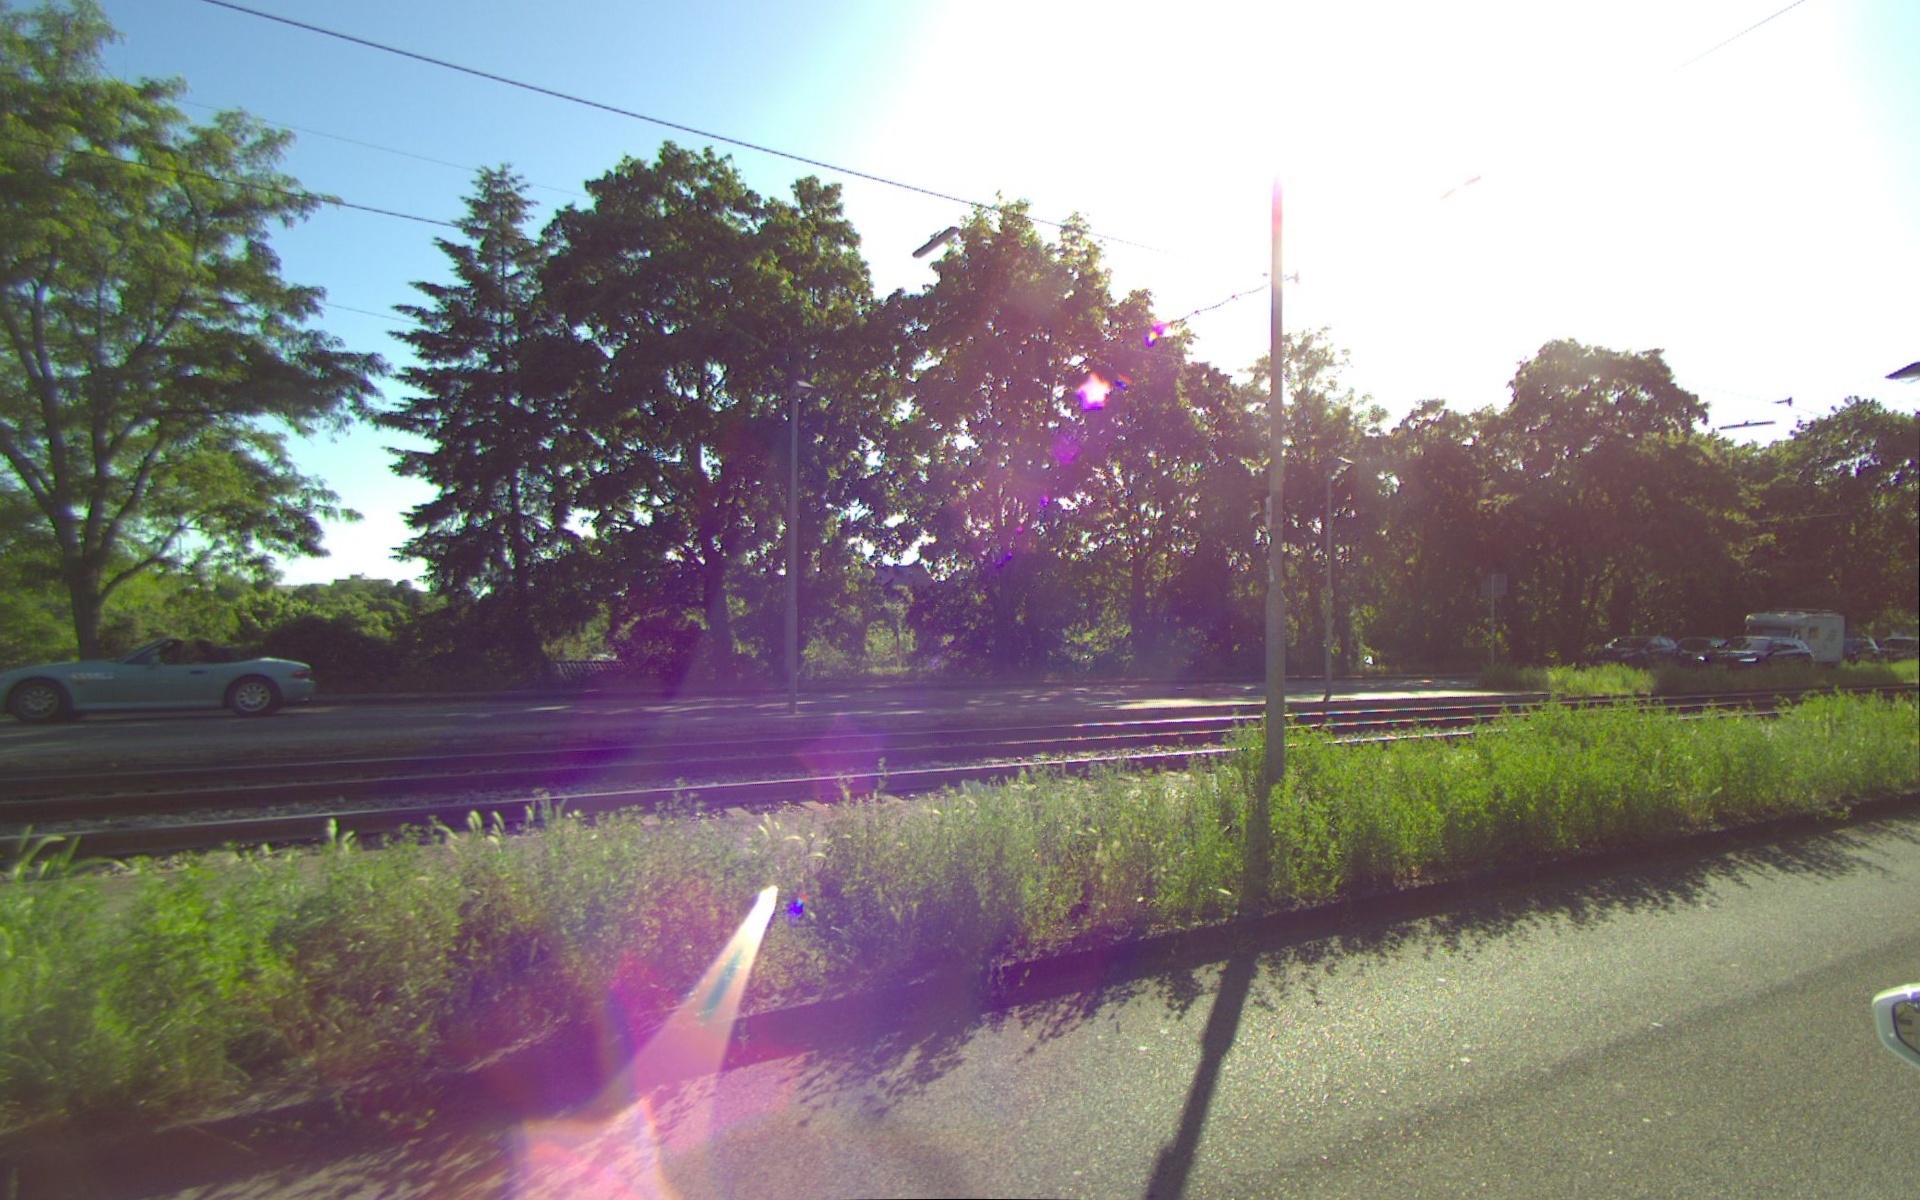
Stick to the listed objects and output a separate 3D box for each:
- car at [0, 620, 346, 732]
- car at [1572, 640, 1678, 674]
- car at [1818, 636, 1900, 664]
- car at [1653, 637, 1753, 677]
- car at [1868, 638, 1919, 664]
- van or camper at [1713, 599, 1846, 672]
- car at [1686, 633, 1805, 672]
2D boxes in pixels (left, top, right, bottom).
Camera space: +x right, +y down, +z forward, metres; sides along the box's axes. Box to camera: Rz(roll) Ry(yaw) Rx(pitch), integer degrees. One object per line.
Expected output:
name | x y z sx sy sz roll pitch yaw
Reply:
car | -11.980 1.098 15.337 4.323 1.489 1.985 2 -1 -29
car | 26.466 2.236 39.947 3.951 1.283 1.913 1 -2 -29
car | 44.398 2.448 49.608 3.953 1.283 1.912 1 -2 -30
car | 31.512 2.398 42.611 3.950 1.582 1.913 1 -2 -28
car | 49.647 2.640 52.685 3.953 1.283 1.912 1 -2 -30
van or camper | 37.588 1.612 46.019 6.709 3.147 2.577 1 -2 -30
car | 27.485 1.825 35.134 3.951 1.283 1.913 1 -2 -29
